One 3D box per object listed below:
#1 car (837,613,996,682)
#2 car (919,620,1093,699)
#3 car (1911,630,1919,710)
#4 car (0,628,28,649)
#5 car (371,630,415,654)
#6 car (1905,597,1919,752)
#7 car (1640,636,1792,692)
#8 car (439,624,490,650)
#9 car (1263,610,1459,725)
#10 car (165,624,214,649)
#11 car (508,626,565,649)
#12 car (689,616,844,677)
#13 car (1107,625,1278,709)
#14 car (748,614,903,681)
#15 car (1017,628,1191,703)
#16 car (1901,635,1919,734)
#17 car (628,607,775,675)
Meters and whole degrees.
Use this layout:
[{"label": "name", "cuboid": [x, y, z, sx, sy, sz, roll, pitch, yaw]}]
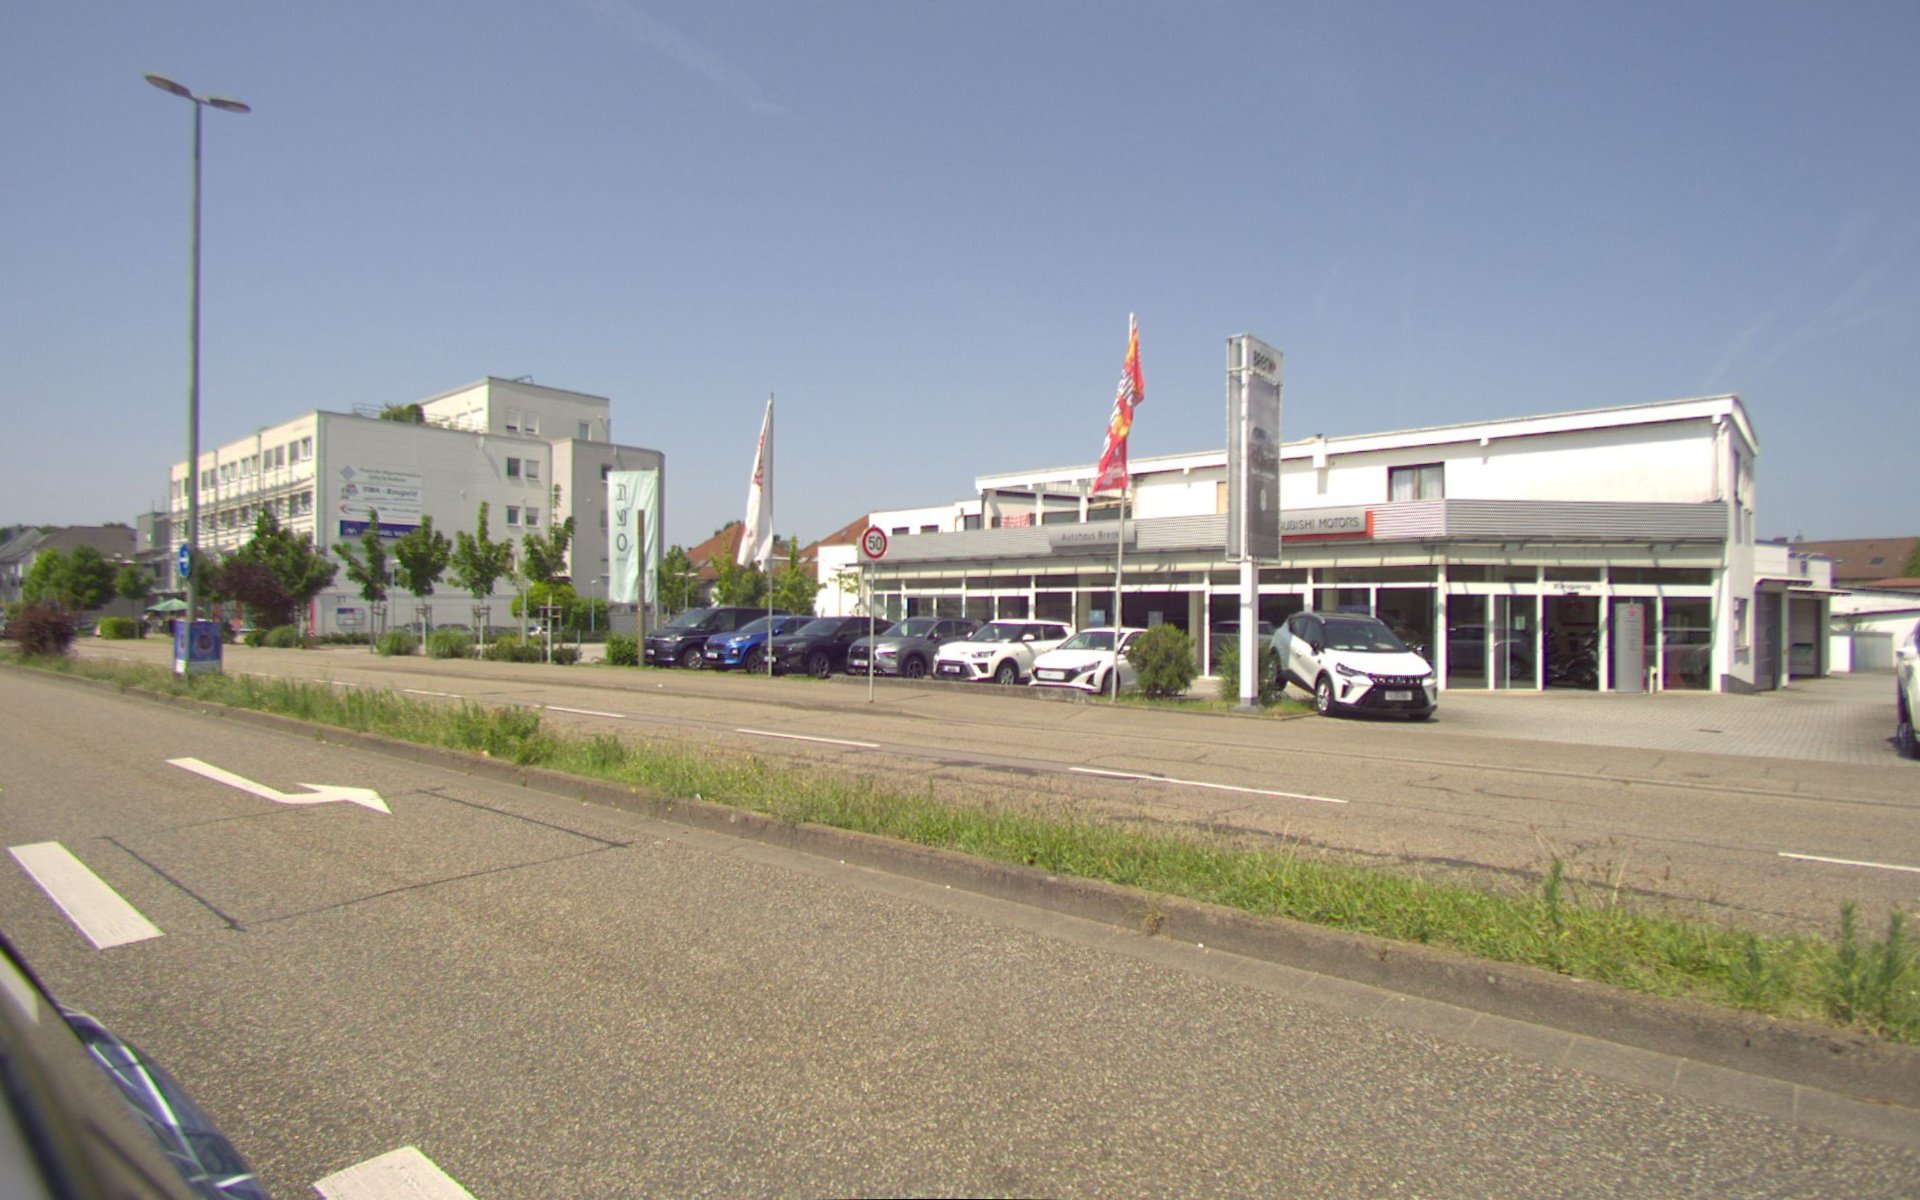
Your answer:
[{"label": "car", "cuboid": [-0.998, 1.217, 25.098, 1.758, 1.580, 3.947, -1, -4, 39]}, {"label": "car", "cuboid": [1.117, 1.294, 23.155, 1.925, 1.621, 3.944, -1, -2, 42]}, {"label": "car", "cuboid": [19.917, 1.395, 19.626, 1.864, 1.627, 3.946, -1, -2, 40]}, {"label": "car", "cuboid": [-67.990, 2.742, 72.030, 4.708, 1.472, 1.809, -1, -2, 39]}, {"label": "car", "cuboid": [-32.651, 2.390, 58.266, 2.833, 1.350, 1.437, -1, -2, 43]}, {"label": "car", "cuboid": [13.209, 0.918, 12.739, 1.759, 1.722, 4.499, -1, 2, 41]}, {"label": "car", "cuboid": [20.029, 1.659, 26.872, 3.134, 1.373, 1.308, -1, -2, 42]}, {"label": "car", "cuboid": [-29.299, 2.166, 59.786, 3.556, 1.530, 1.536, -1, -2, 43]}, {"label": "car", "cuboid": [6.963, 1.094, 18.070, 1.734, 1.636, 4.003, 0, 2, -2]}, {"label": "car", "cuboid": [-47.736, 2.265, 62.679, 3.662, 1.460, 1.674, -1, -1, 39]}, {"label": "car", "cuboid": [-26.604, 2.350, 63.536, 3.834, 1.394, 1.899, -1, -2, 43]}, {"label": "car", "cuboid": [-5.457, 1.313, 28.908, 2.087, 1.621, 3.948, -1, -3, 39]}, {"label": "car", "cuboid": [4.666, 1.235, 19.941, 1.758, 1.478, 3.948, -1, -2, 39]}, {"label": "car", "cuboid": [-3.508, 1.315, 26.961, 1.758, 1.621, 3.947, -1, -5, 39]}, {"label": "car", "cuboid": [3.093, 1.290, 21.189, 1.858, 1.405, 3.948, -1, -2, 39]}, {"label": "car", "cuboid": [16.621, 1.353, 16.328, 1.864, 1.542, 3.946, -1, -2, 40]}, {"label": "car", "cuboid": [-7.783, 1.214, 30.740, 1.998, 1.896, 3.948, -1, -2, 39]}]
